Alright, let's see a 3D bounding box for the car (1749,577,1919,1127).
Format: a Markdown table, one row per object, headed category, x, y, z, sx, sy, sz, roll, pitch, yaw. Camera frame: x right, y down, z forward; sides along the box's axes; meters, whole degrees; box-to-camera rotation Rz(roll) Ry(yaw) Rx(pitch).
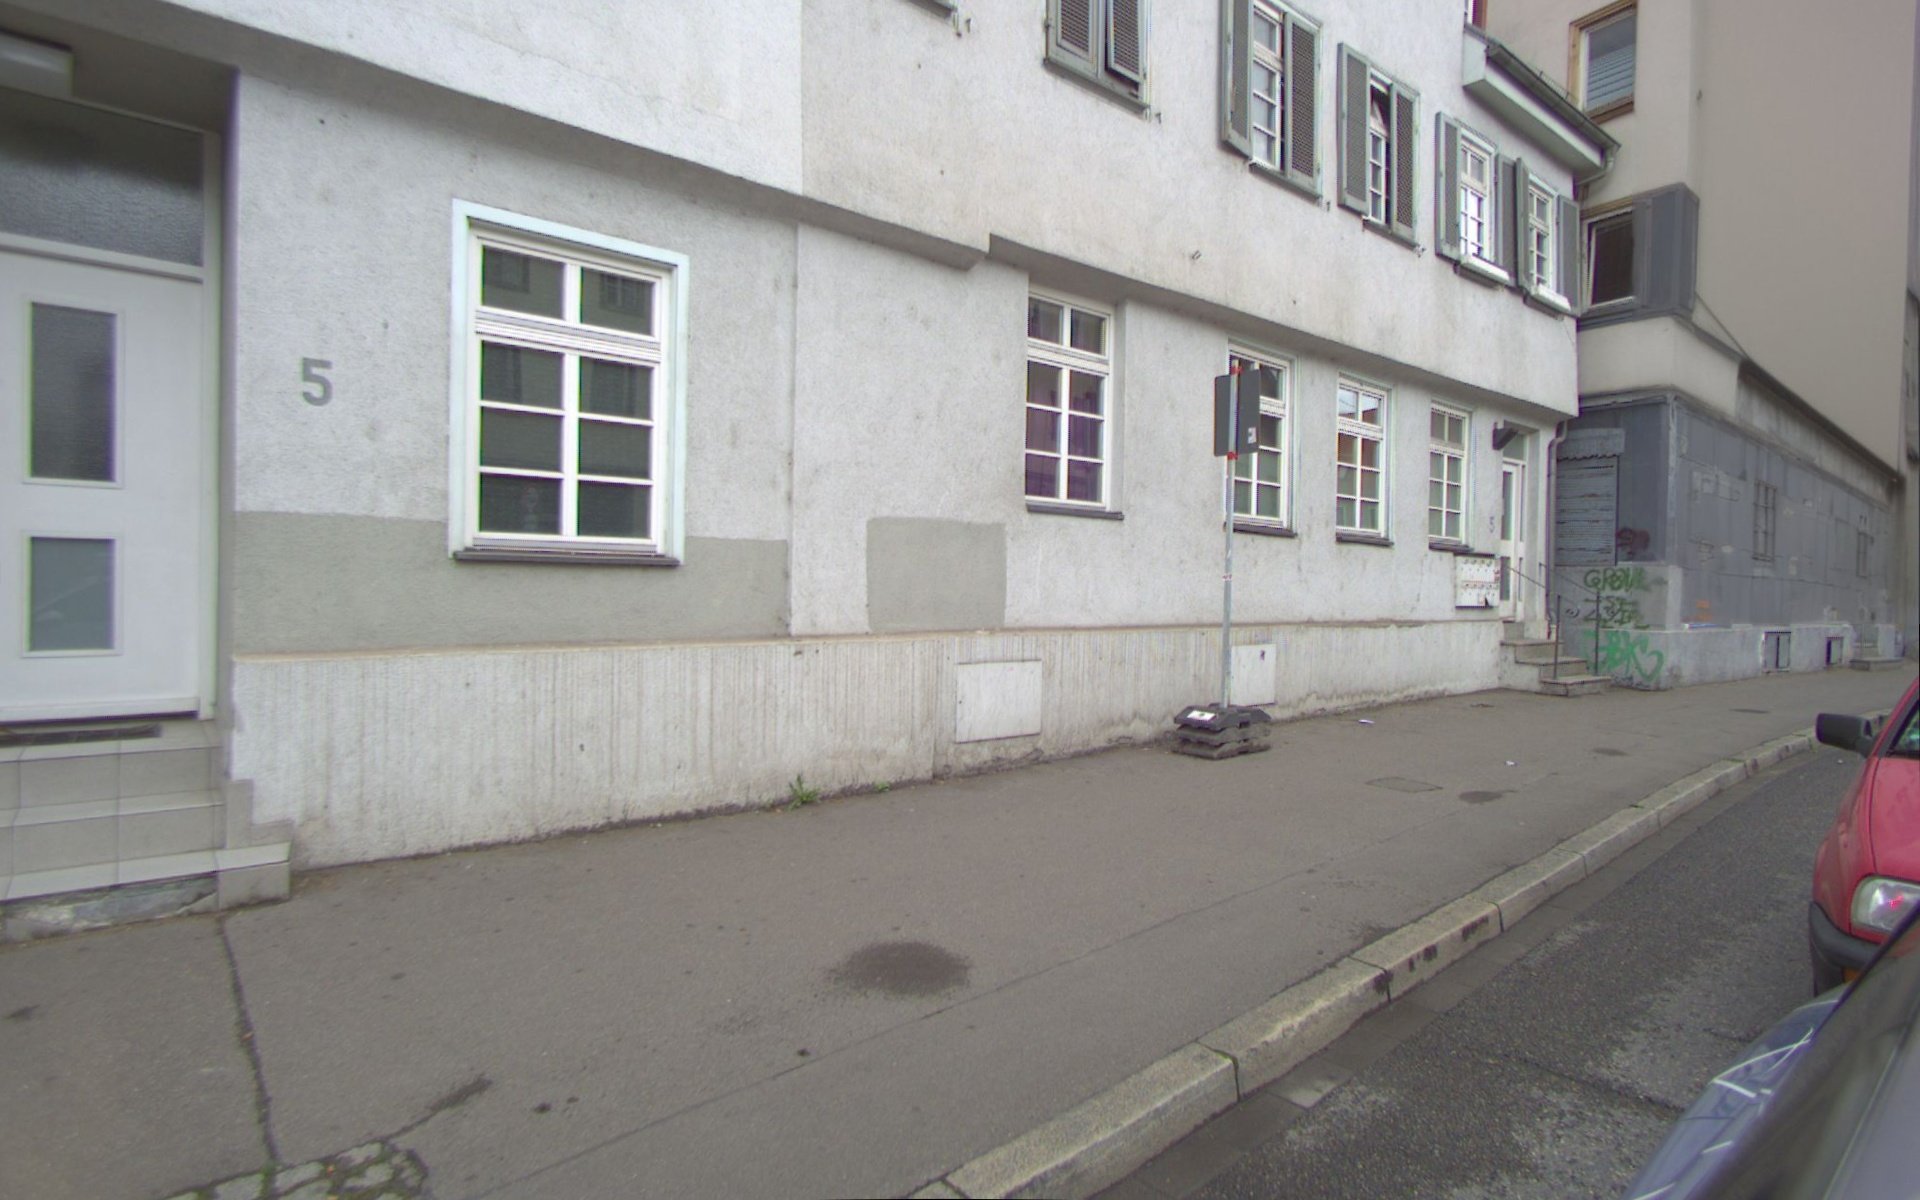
| category | x | y | z | sx | sy | sz | roll | pitch | yaw |
| --- | --- | --- | --- | --- | --- | --- | --- | --- | --- |
| car | 4.468 | 0.650 | 3.516 | 3.927 | 1.443 | 1.793 | -3 | 2 | -37 |
